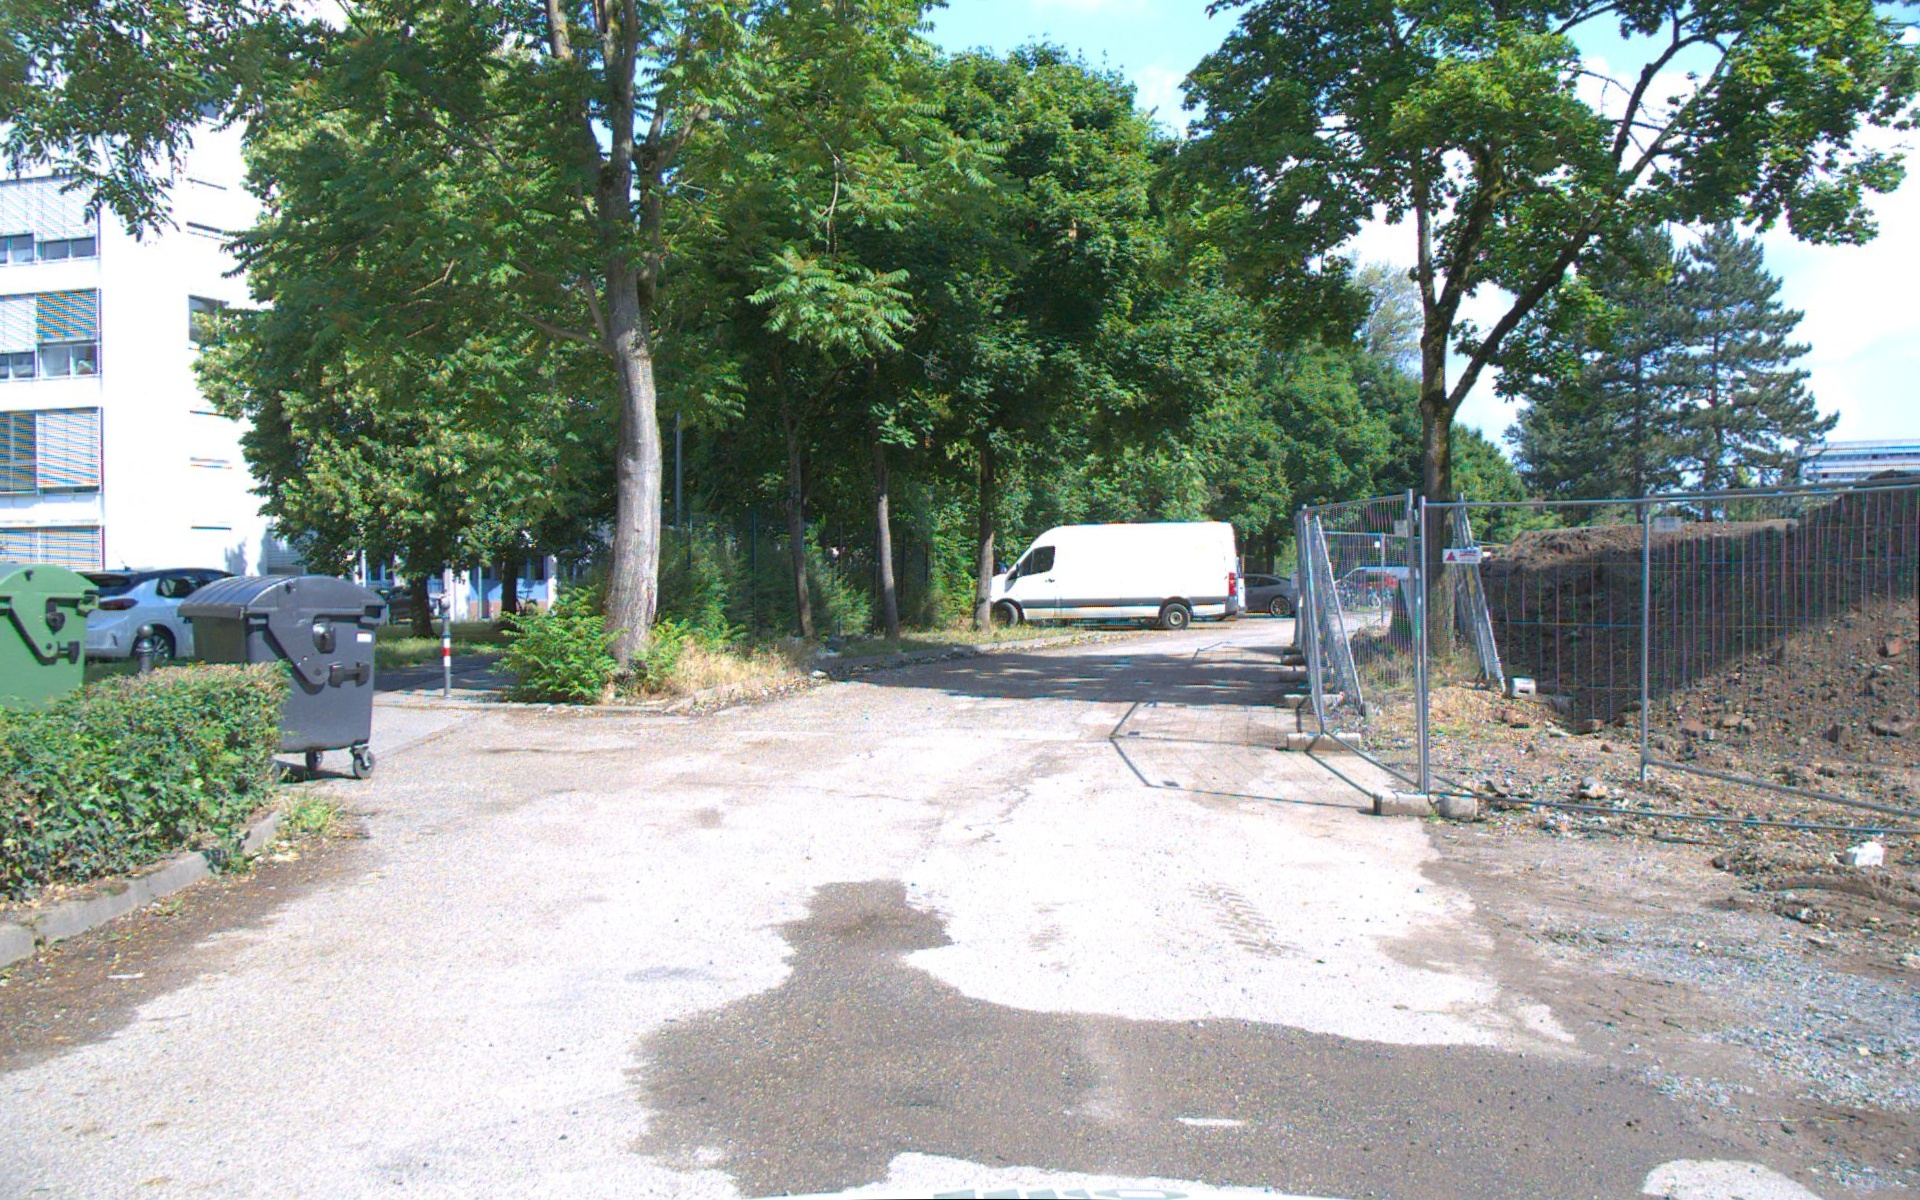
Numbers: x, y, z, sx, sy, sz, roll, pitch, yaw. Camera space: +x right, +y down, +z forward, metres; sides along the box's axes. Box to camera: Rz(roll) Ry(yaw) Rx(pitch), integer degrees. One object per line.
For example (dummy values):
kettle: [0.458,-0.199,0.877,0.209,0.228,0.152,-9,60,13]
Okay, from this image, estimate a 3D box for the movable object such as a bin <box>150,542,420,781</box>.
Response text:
movable object such as a bin: [-4.828,0.438,11.832,1.275,1.507,1.241,6,-1,44]

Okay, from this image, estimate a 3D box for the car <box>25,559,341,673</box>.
car: [-11.031,0.240,23.779,1.718,1.445,3.915,2,0,23]

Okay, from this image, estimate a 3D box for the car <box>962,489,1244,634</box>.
car: [3.667,-0.968,42.139,6.806,3.100,2.001,4,-1,8]

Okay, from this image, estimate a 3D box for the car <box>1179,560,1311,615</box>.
car: [9.295,-0.409,53.936,3.906,1.453,1.844,3,-3,21]

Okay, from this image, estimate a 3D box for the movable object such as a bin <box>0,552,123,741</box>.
movable object such as a bin: [-7.930,0.359,13.656,1.311,1.477,1.103,3,-3,16]

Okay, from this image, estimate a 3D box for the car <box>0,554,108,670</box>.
car: [-17.718,0.189,28.785,1.954,1.999,4.951,0,-2,25]

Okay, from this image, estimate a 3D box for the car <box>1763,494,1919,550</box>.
car: [28.245,-2.465,52.598,4.758,1.453,1.843,3,-3,25]
